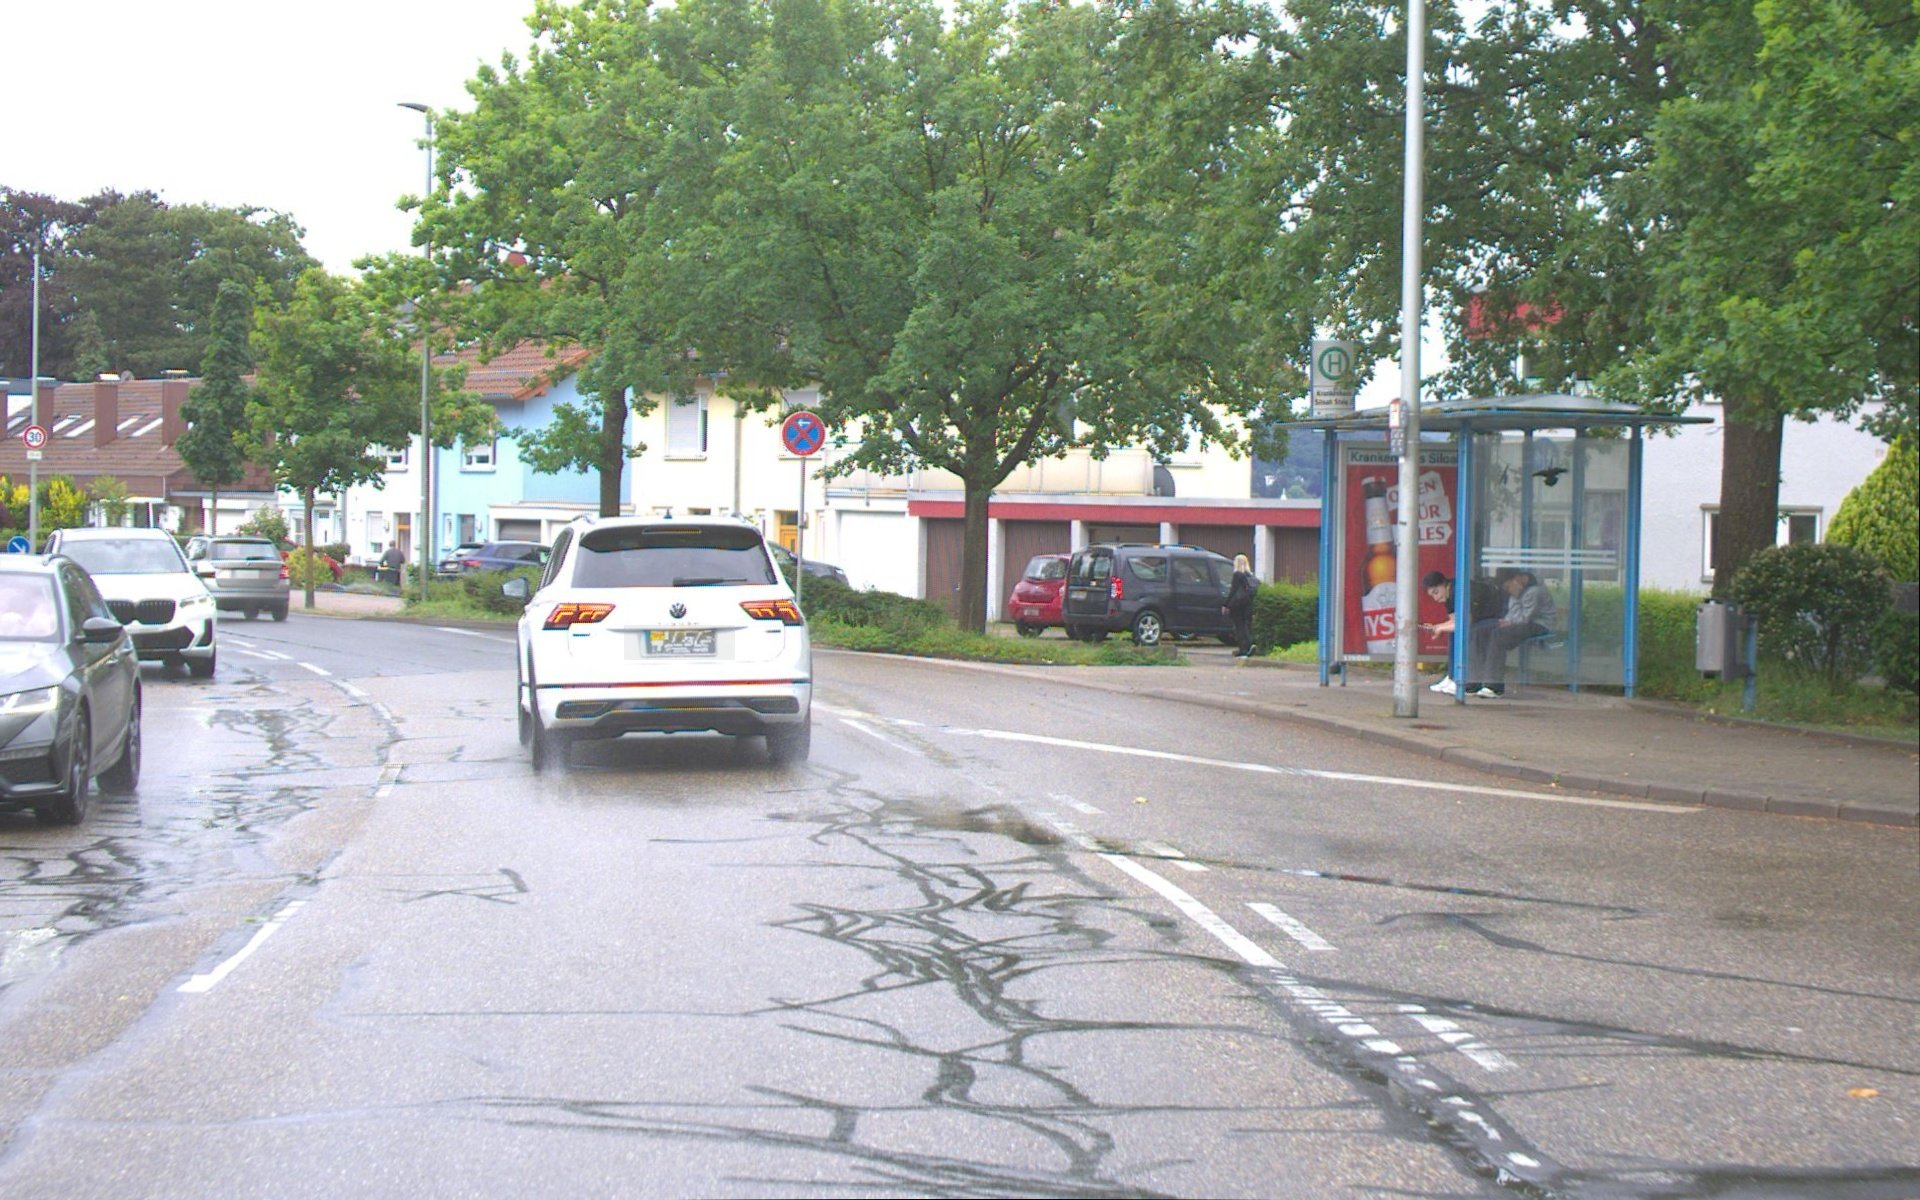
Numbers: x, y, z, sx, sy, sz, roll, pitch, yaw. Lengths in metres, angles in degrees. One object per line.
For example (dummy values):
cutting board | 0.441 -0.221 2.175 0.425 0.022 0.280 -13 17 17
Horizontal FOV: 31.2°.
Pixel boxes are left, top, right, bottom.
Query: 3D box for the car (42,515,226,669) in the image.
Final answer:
car | -9.496 -0.137 39.359 1.890 1.606 4.867 1 1 -15

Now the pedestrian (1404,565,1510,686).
pedestrian | 4.251 0.215 29.435 0.748 1.008 0.551 1 1 -9

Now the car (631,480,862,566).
car | -4.283 -1.541 68.994 4.180 1.666 1.991 0 2 -34

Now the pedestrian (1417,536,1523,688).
pedestrian | 4.248 0.093 28.656 0.726 1.246 0.551 1 1 -9

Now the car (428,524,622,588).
car | -9.694 -0.973 76.713 3.988 1.382 1.674 0 2 -38

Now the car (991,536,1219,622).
car | 2.530 -0.371 59.693 3.693 1.437 1.707 0 1 -36

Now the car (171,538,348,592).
car | -18.390 -0.909 90.354 4.306 1.256 1.678 1 1 -45

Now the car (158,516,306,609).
car | -12.620 -0.670 59.448 1.768 1.546 4.001 0 1 -23

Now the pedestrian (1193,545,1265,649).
pedestrian | 4.092 -0.053 52.260 0.664 1.552 0.842 0 1 -40

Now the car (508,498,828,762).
car | -2.085 0.136 23.536 1.864 1.645 4.001 0 1 -9

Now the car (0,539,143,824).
car | -5.643 0.377 19.375 1.740 1.410 4.143 1 1 -10

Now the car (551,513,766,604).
car | -6.224 -0.845 71.172 4.181 1.666 1.721 3 0 -42

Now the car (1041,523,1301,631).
car | 3.511 -0.397 57.014 3.988 1.715 1.924 0 1 -36
